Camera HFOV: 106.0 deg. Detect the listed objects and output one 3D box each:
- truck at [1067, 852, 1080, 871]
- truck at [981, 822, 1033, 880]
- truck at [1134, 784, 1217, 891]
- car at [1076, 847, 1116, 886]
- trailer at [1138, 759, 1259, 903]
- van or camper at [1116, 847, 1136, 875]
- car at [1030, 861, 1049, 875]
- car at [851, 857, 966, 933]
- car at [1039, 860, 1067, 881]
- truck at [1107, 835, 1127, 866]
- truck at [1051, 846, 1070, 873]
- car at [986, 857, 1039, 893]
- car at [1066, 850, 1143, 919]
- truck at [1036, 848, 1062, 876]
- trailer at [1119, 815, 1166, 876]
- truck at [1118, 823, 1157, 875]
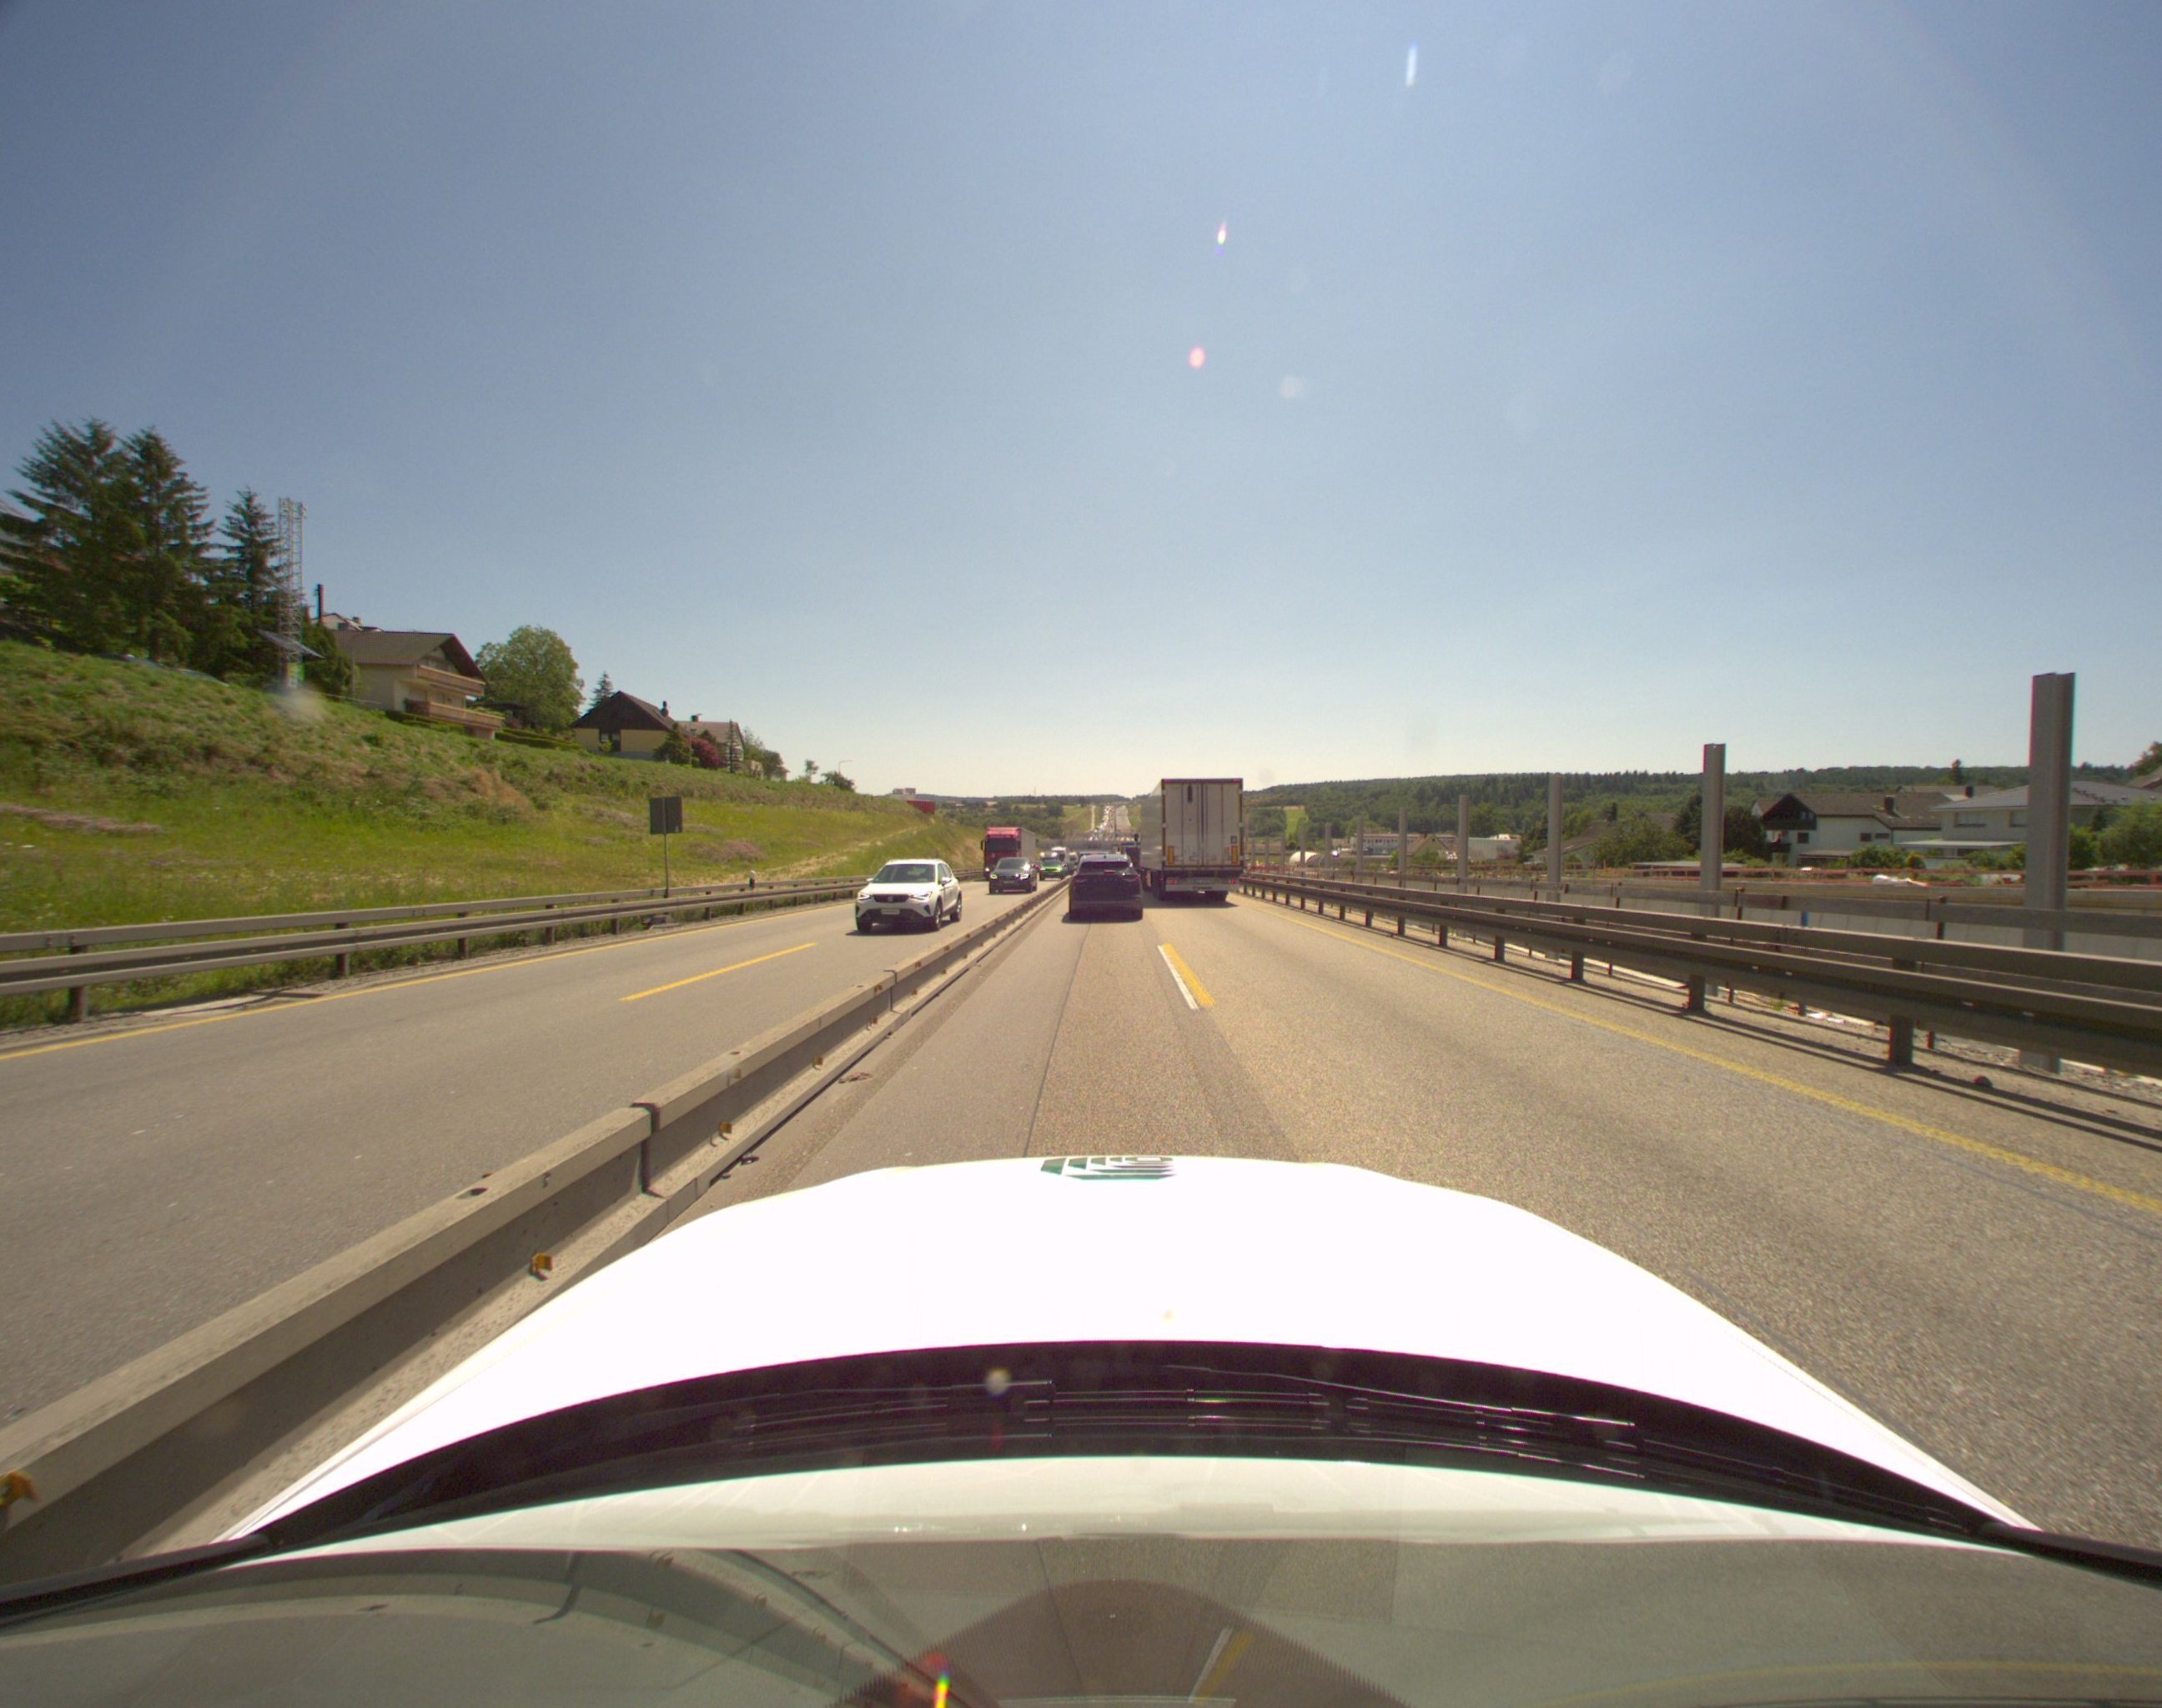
[{"bbox_3d":[-1.676,1.979,195.632,2.842,4.338,11.917,0,-2,1],"label":"truck"},{"bbox_3d":[-5.669,-0.077,64.635,2.842,4.140,11.917,0,-2,1],"label":"truck"},{"bbox_3d":[4.293,-0.701,38.695,3.169,4.513,8.168,0,0,1],"label":"truck"},{"bbox_3d":[0.782,0.702,43.102,1.986,1.926,4.508,0,-2,1],"label":"car"},{"bbox_3d":[4.141,-0.717,32.120,3.169,4.513,13.112,0,0,1],"label":"trailer"},{"bbox_3d":[5.672,0.910,101.579,2.378,3.281,6.474,-1,-2,4],"label":"van or camper"},{"bbox_3d":[-4.978,1.699,97.053,1.987,1.651,4.000,0,-2,1],"label":"car"},{"bbox_3d":[-3.785,0.845,18.560,1.787,1.518,3.997,-1,0,-1],"label":"car"},{"bbox_3d":[-2.027,1.191,59.958,1.855,1.476,4.000,0,-1,1],"label":"car"},{"bbox_3d":[5.759,-0.455,130.758,2.842,4.465,11.917,0,-2,1],"label":"truck"},{"bbox_3d":[-3.404,1.037,138.164,2.842,4.338,11.917,0,-2,1],"label":"truck"},{"bbox_3d":[-3.049,0.946,37.133,1.986,1.530,4.000,-1,-1,1],"label":"car"},{"bbox_3d":[0.630,0.762,21.139,1.795,1.607,4.002,0,-1,2],"label":"car"},{"bbox_3d":[-4.410,1.221,114.658,2.842,3.783,11.917,0,-2,1],"label":"truck"},{"bbox_3d":[4.968,-0.440,68.290,3.169,4.513,14.969,0,-2,1],"label":"trailer"},{"bbox_3d":[5.138,-0.364,75.508,3.169,4.513,8.166,0,-2,1],"label":"truck"}]
